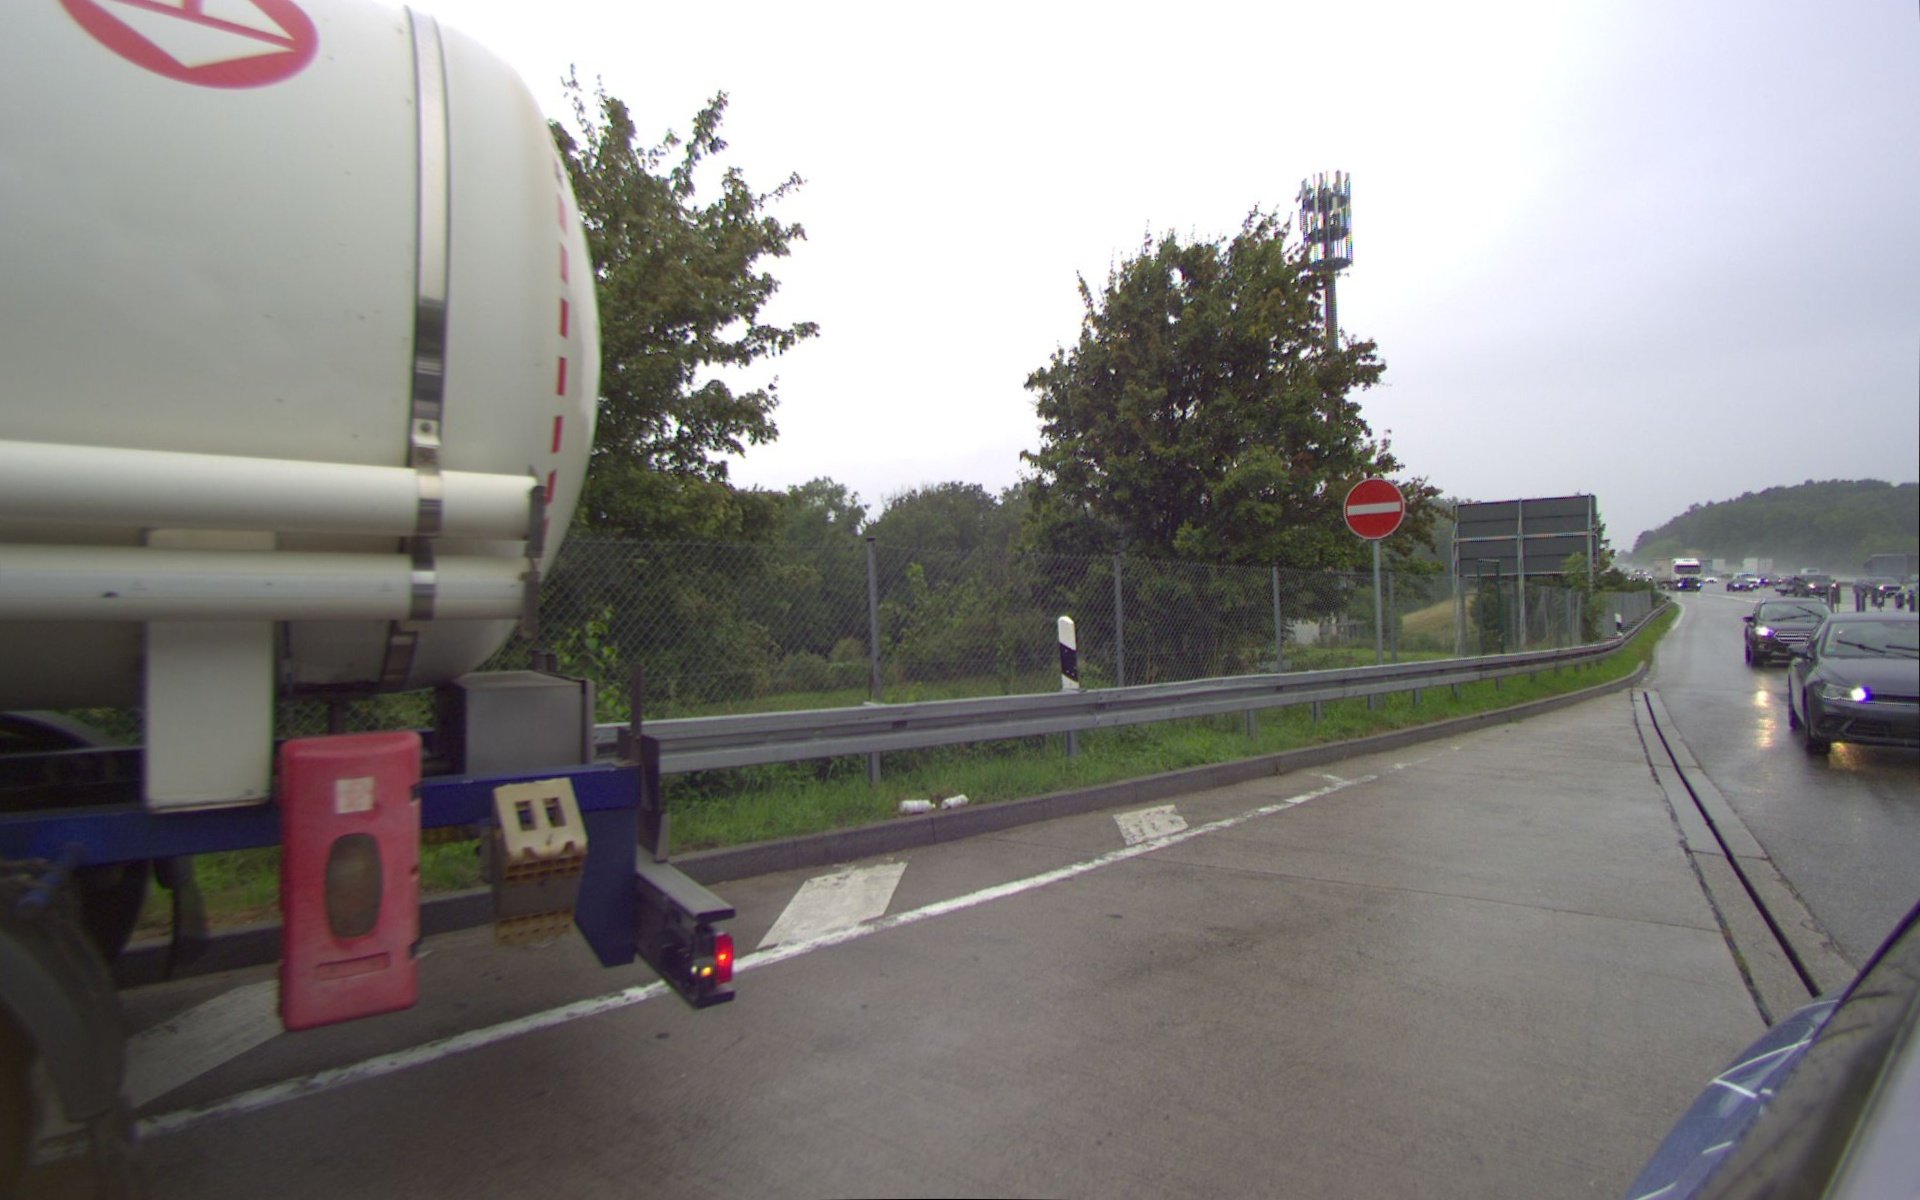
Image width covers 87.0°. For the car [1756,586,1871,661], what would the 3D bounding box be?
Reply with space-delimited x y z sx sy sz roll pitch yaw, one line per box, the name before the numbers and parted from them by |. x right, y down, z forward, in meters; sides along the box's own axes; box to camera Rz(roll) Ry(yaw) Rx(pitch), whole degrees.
car | 20.837 0.543 24.847 1.800 1.561 3.947 -5 -2 37

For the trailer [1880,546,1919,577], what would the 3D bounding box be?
trailer | 129.178 -5.184 137.111 3.007 3.860 13.286 -3 -1 26

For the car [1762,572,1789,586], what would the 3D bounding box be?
car | 105.640 -2.725 131.133 1.980 1.835 3.963 0 0 26

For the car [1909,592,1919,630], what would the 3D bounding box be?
car | 54.584 0.629 56.037 1.902 2.038 3.960 -7 -1 30

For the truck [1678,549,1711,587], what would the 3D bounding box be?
truck | 87.084 -3.716 120.022 2.579 4.198 5.168 -4 -2 33

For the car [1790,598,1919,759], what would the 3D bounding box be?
car | 10.205 0.717 10.866 1.660 1.420 4.208 -1 0 35

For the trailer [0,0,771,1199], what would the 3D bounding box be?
trailer | -5.249 -0.282 0.650 10.122 3.266 1.987 0 -1 -34

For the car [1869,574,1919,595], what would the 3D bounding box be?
car | 76.878 -1.255 83.365 1.769 1.579 4.065 0 -1 23

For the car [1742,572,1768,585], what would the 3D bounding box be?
car | 99.426 -2.680 126.573 1.779 1.527 3.963 0 0 26

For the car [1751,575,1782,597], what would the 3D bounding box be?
car | 88.749 -1.600 111.390 1.902 2.038 3.960 -7 -1 30
